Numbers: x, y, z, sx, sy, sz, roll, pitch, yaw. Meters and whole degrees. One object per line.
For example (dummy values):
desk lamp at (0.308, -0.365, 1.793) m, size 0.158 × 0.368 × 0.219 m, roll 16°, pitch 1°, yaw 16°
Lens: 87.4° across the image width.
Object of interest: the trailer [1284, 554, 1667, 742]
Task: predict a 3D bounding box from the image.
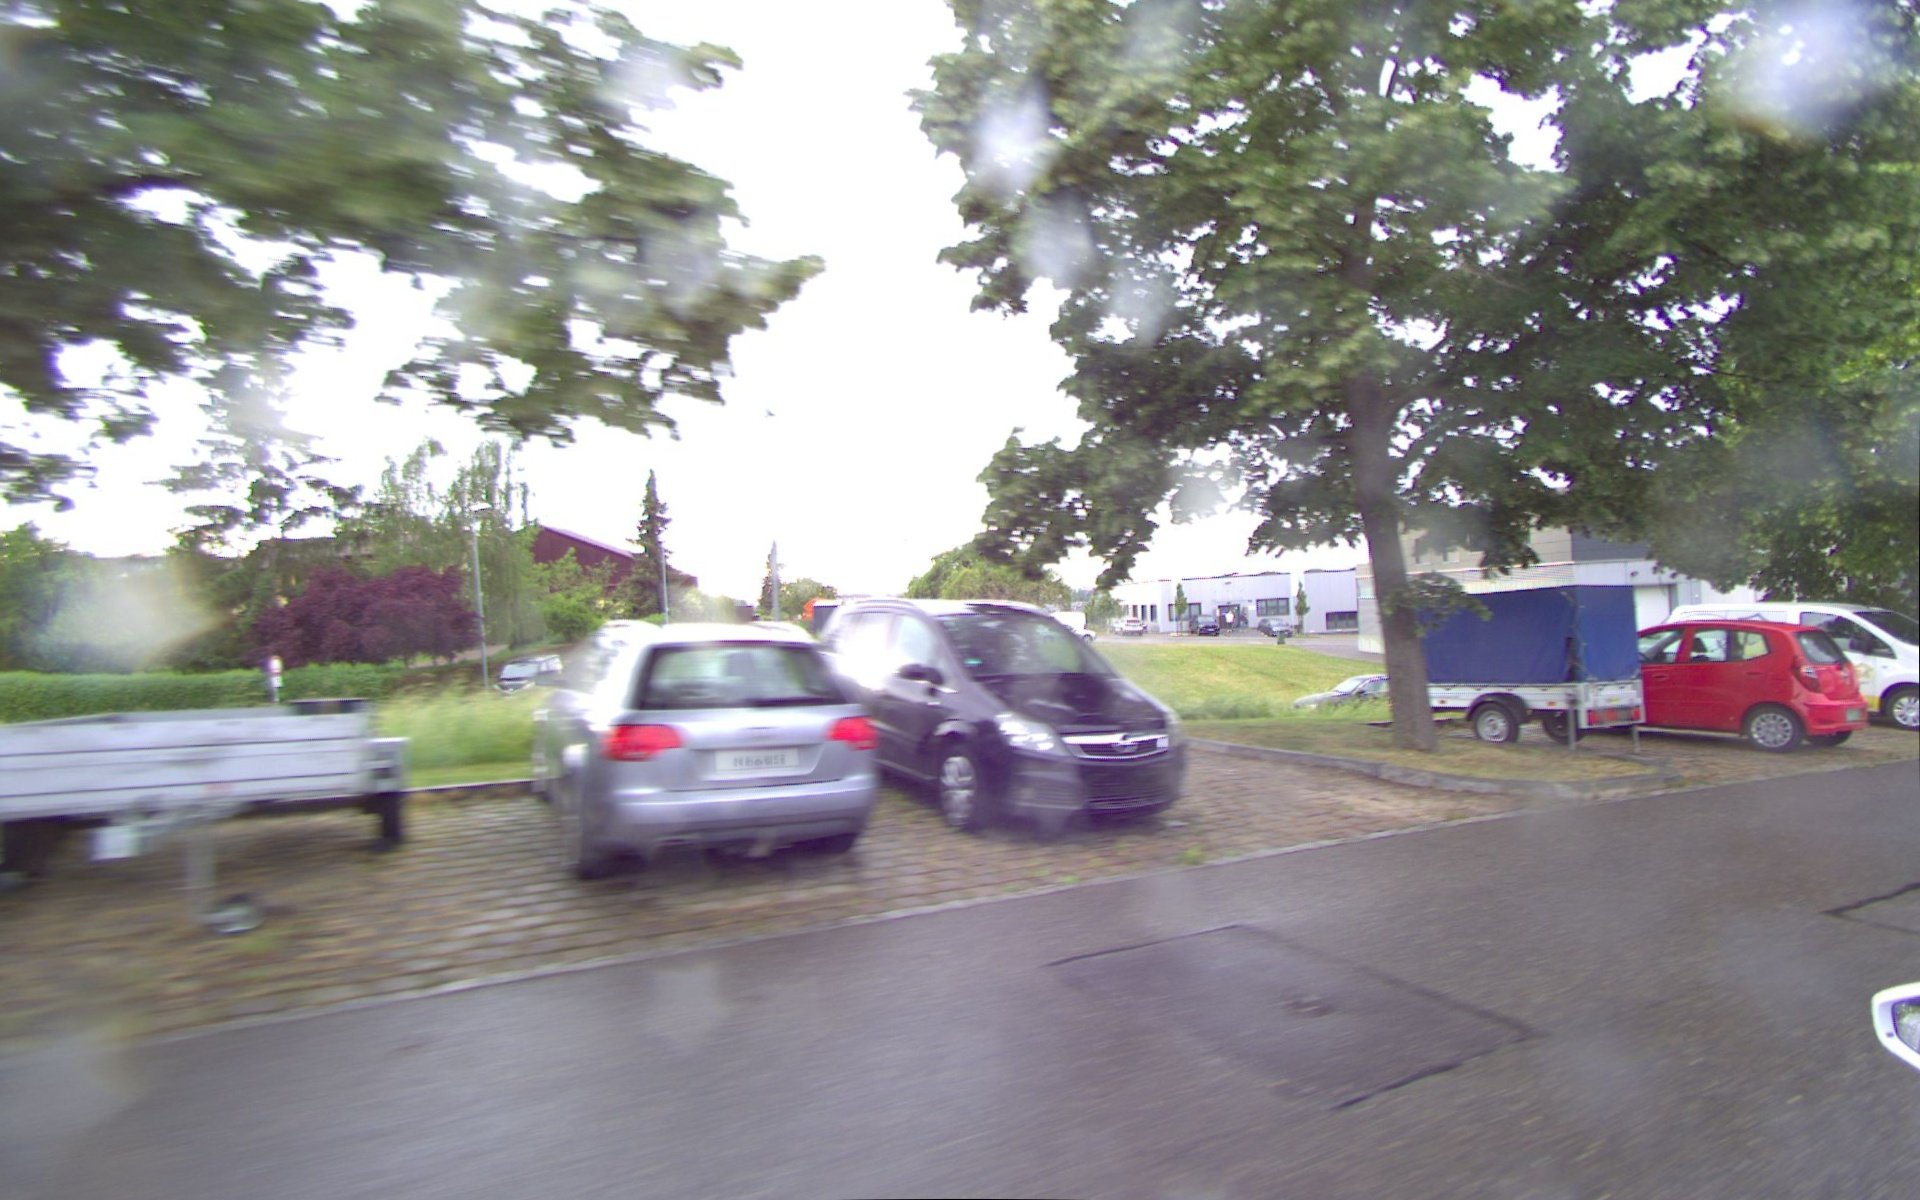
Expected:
trailer at (6.424, 0.618, 13.067) m, size 1.751 × 2.010 × 4.197 m, roll 1°, pitch -3°, yaw -27°

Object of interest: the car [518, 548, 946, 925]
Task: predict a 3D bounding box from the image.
car at (-1.865, 0.661, 6.936) m, size 1.999 × 1.744 × 4.060 m, roll 1°, pitch -1°, yaw -26°

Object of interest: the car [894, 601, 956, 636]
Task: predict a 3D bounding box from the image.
car at (-3.497, 1.851, 100.949) m, size 6.176 × 3.474 × 2.001 m, roll 0°, pitch -2°, yaw 0°

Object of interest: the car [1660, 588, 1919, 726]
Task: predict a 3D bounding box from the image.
car at (13.788, 0.878, 15.769) m, size 1.835 × 1.930 × 4.293 m, roll 1°, pitch -3°, yaw -22°

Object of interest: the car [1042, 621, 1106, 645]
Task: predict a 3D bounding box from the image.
car at (8.646, 2.532, 76.397) m, size 4.528 × 1.669 × 2.292 m, roll -1°, pitch -4°, yaw 0°

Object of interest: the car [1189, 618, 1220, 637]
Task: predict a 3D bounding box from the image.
car at (21.372, 2.412, 87.804) m, size 1.775 × 1.639 × 4.001 m, roll 0°, pitch -2°, yaw 1°

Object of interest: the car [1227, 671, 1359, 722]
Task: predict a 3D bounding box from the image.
car at (10.471, 3.003, 31.654) m, size 3.640 × 1.465 × 1.561 m, roll 0°, pitch -2°, yaw -10°

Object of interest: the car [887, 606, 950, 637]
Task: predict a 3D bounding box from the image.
car at (-3.824, 1.982, 92.421) m, size 5.703 × 2.737 × 1.998 m, roll 0°, pitch -1°, yaw -7°

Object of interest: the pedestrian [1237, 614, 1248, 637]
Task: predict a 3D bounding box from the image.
pedestrian at (25.020, 2.231, 88.995) m, size 0.847 × 2.031 × 0.660 m, roll 0°, pitch -1°, yaw 3°

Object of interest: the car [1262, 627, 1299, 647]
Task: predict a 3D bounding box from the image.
car at (27.838, 3.217, 87.345) m, size 1.960 × 1.639 × 4.001 m, roll 0°, pitch -2°, yaw 1°

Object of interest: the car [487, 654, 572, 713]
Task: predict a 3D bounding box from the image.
car at (-17.479, 3.381, 41.059) m, size 1.893 × 2.249 × 4.501 m, roll -1°, pitch -4°, yaw -6°

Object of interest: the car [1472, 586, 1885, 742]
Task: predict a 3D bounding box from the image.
car at (9.367, 0.818, 13.500) m, size 1.735 × 1.744 × 4.176 m, roll 2°, pitch -3°, yaw -30°

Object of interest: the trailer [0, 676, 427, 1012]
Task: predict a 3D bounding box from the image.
trailer at (-4.078, 1.029, 5.502) m, size 1.976 × 0.974 × 3.924 m, roll 0°, pitch -1°, yaw -29°

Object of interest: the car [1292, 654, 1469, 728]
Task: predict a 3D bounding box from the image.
car at (12.424, 2.656, 29.827) m, size 4.302 × 1.776 × 1.999 m, roll -4°, pitch -2°, yaw -6°

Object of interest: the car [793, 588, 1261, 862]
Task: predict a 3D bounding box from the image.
car at (0.181, 0.763, 8.381) m, size 1.783 × 1.611 × 4.600 m, roll 1°, pitch -1°, yaw -27°

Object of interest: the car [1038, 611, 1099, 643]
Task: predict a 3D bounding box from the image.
car at (12.224, 3.064, 113.424) m, size 6.597 × 3.469 × 2.546 m, roll -1°, pitch -3°, yaw 0°

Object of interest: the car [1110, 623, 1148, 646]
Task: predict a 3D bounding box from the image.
car at (14.641, 2.967, 87.441) m, size 2.237 × 1.879 × 4.716 m, roll -1°, pitch -1°, yaw -4°

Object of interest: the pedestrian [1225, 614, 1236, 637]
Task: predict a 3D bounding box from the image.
pedestrian at (24.007, 2.270, 89.192) m, size 0.834 × 2.040 × 0.647 m, roll 0°, pitch -1°, yaw 4°
